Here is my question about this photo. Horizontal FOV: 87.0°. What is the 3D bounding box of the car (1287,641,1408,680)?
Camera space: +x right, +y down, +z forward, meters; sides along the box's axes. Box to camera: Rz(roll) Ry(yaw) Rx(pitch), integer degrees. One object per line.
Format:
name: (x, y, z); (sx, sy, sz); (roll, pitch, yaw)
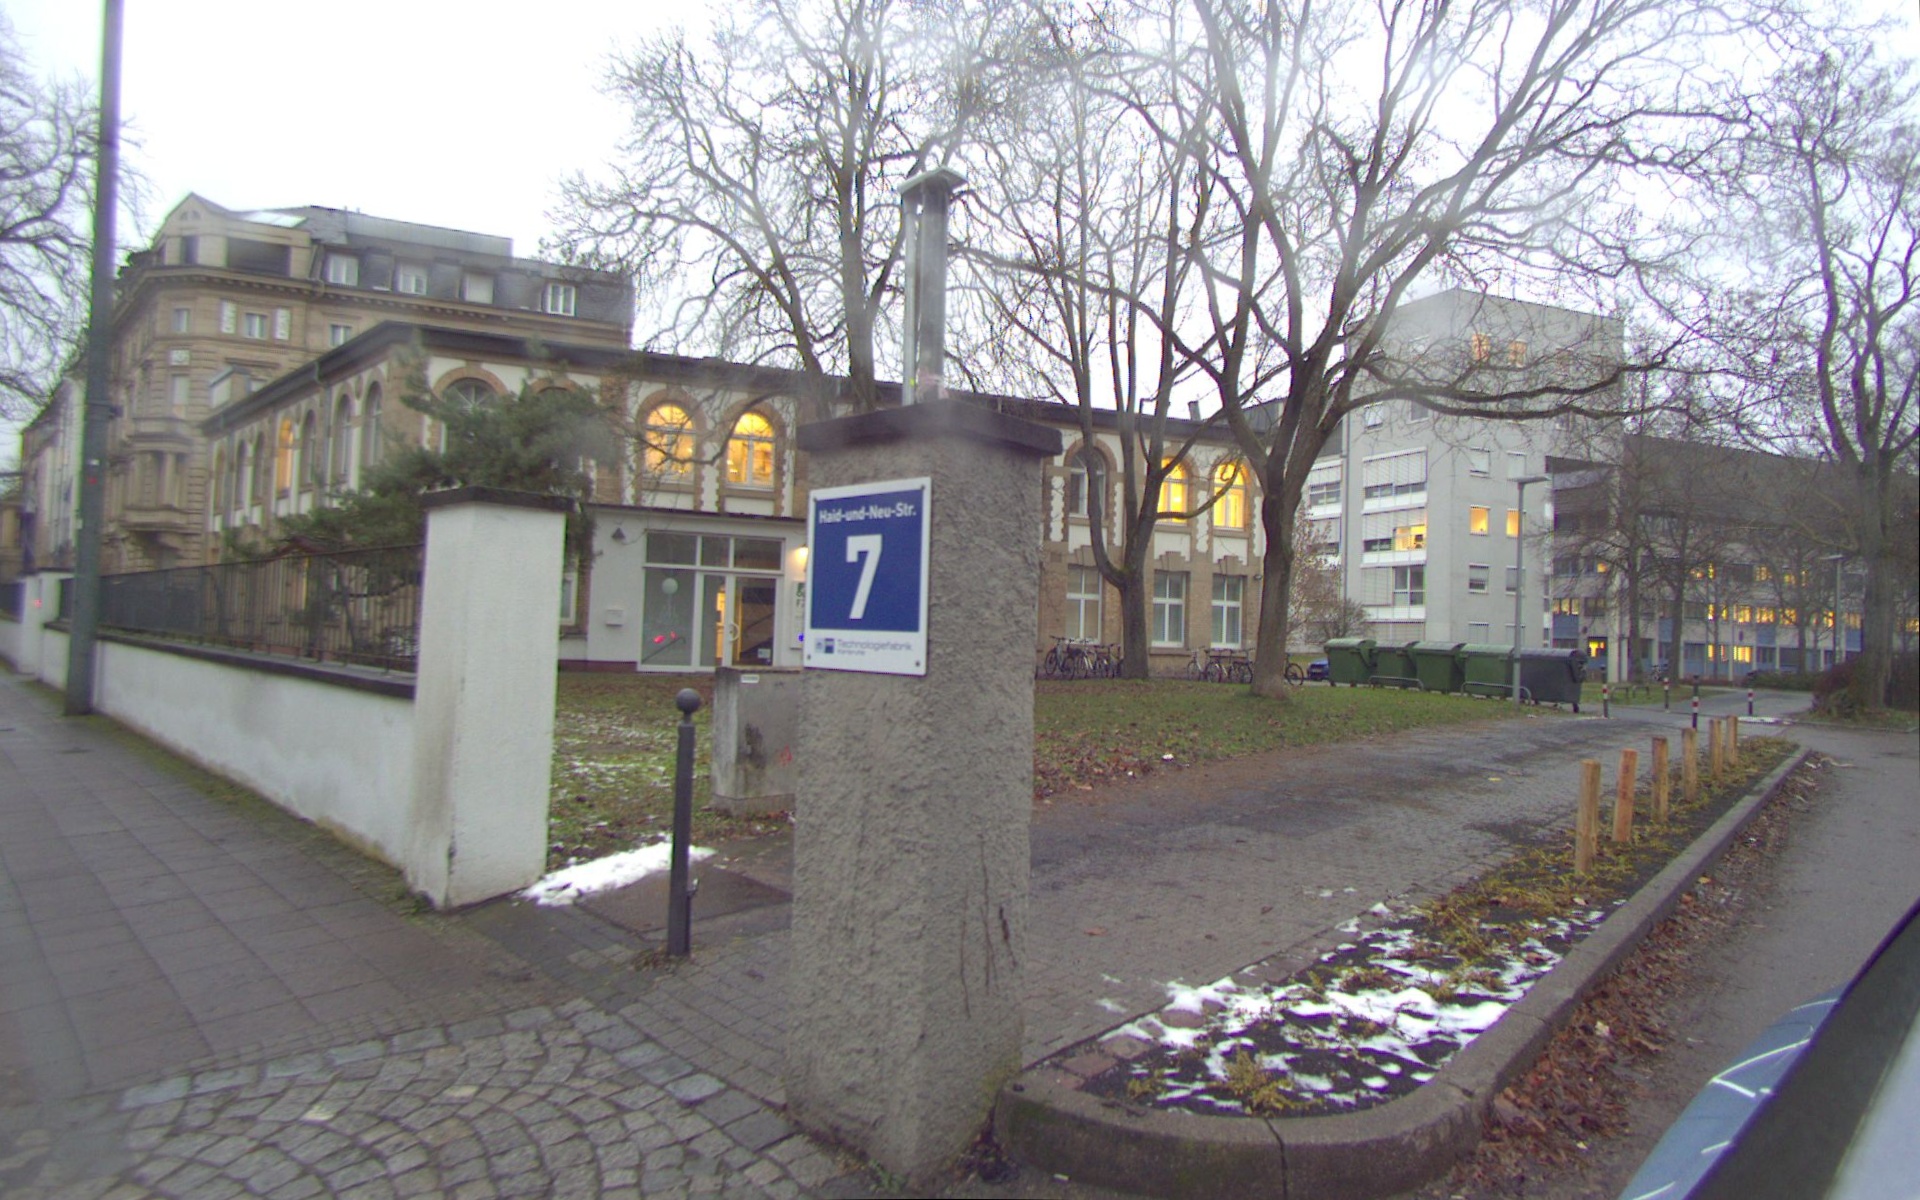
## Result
car: (14.964, 2.337, 39.170); (3.916, 1.297, 2.004); (2, -1, -13)

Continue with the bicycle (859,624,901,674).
bicycle: (-2.043, 1.210, 25.577); (0.561, 1.172, 2.146); (2, -1, -17)

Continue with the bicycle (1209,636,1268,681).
bicycle: (8.033, 1.678, 29.250); (0.561, 1.172, 2.146); (2, -1, -17)

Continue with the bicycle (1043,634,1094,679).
bicycle: (2.910, 1.510, 27.439); (0.561, 1.106, 2.146); (2, -1, -17)

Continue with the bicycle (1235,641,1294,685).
bicycle: (8.902, 1.833, 29.679); (0.561, 1.172, 2.146); (2, -1, -17)

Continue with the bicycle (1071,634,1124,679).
bicycle: (3.749, 1.532, 27.746); (0.561, 1.125, 2.146); (2, -1, -17)

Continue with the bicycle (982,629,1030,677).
bicycle: (1.200, 1.388, 26.814); (0.561, 1.172, 2.146); (2, -1, -17)

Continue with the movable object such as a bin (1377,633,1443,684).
movable object such as a bin: (11.910, 1.540, 26.817); (0.967, 1.296, 1.254); (2, -1, -24)

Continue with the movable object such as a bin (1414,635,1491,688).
movable object such as a bin: (12.371, 1.544, 25.436); (0.967, 1.241, 1.441); (2, -1, -24)

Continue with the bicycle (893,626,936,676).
bicycle: (-1.178, 1.278, 25.855); (0.561, 1.172, 2.146); (2, -1, -17)

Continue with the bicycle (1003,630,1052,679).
bicycle: (1.776, 1.430, 27.005); (0.561, 1.172, 2.146); (2, -1, -17)

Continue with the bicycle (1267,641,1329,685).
bicycle: (9.894, 1.822, 29.718); (0.561, 1.172, 2.146); (2, -1, -17)

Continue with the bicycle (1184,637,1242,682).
bicycle: (7.219, 1.676, 28.937); (0.561, 1.172, 2.146); (2, -1, -17)

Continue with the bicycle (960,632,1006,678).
bicycle: (0.583, 1.424, 26.629); (0.561, 1.029, 2.146); (2, 1, -17)

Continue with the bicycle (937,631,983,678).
bicycle: (-0.022, 1.393, 26.424); (0.561, 1.063, 2.146); (2, 1, -17)

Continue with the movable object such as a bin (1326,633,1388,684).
movable object such as a bin: (11.005, 1.619, 28.106); (0.967, 1.331, 1.266); (2, -1, -24)

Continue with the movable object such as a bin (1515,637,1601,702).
movable object such as a bin: (13.435, 1.539, 22.751); (1.043, 1.333, 1.324); (2, 0, -36)

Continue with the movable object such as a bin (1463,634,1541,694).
movable object such as a bin: (12.866, 1.510, 24.064); (0.967, 1.331, 1.310); (2, -1, -24)
